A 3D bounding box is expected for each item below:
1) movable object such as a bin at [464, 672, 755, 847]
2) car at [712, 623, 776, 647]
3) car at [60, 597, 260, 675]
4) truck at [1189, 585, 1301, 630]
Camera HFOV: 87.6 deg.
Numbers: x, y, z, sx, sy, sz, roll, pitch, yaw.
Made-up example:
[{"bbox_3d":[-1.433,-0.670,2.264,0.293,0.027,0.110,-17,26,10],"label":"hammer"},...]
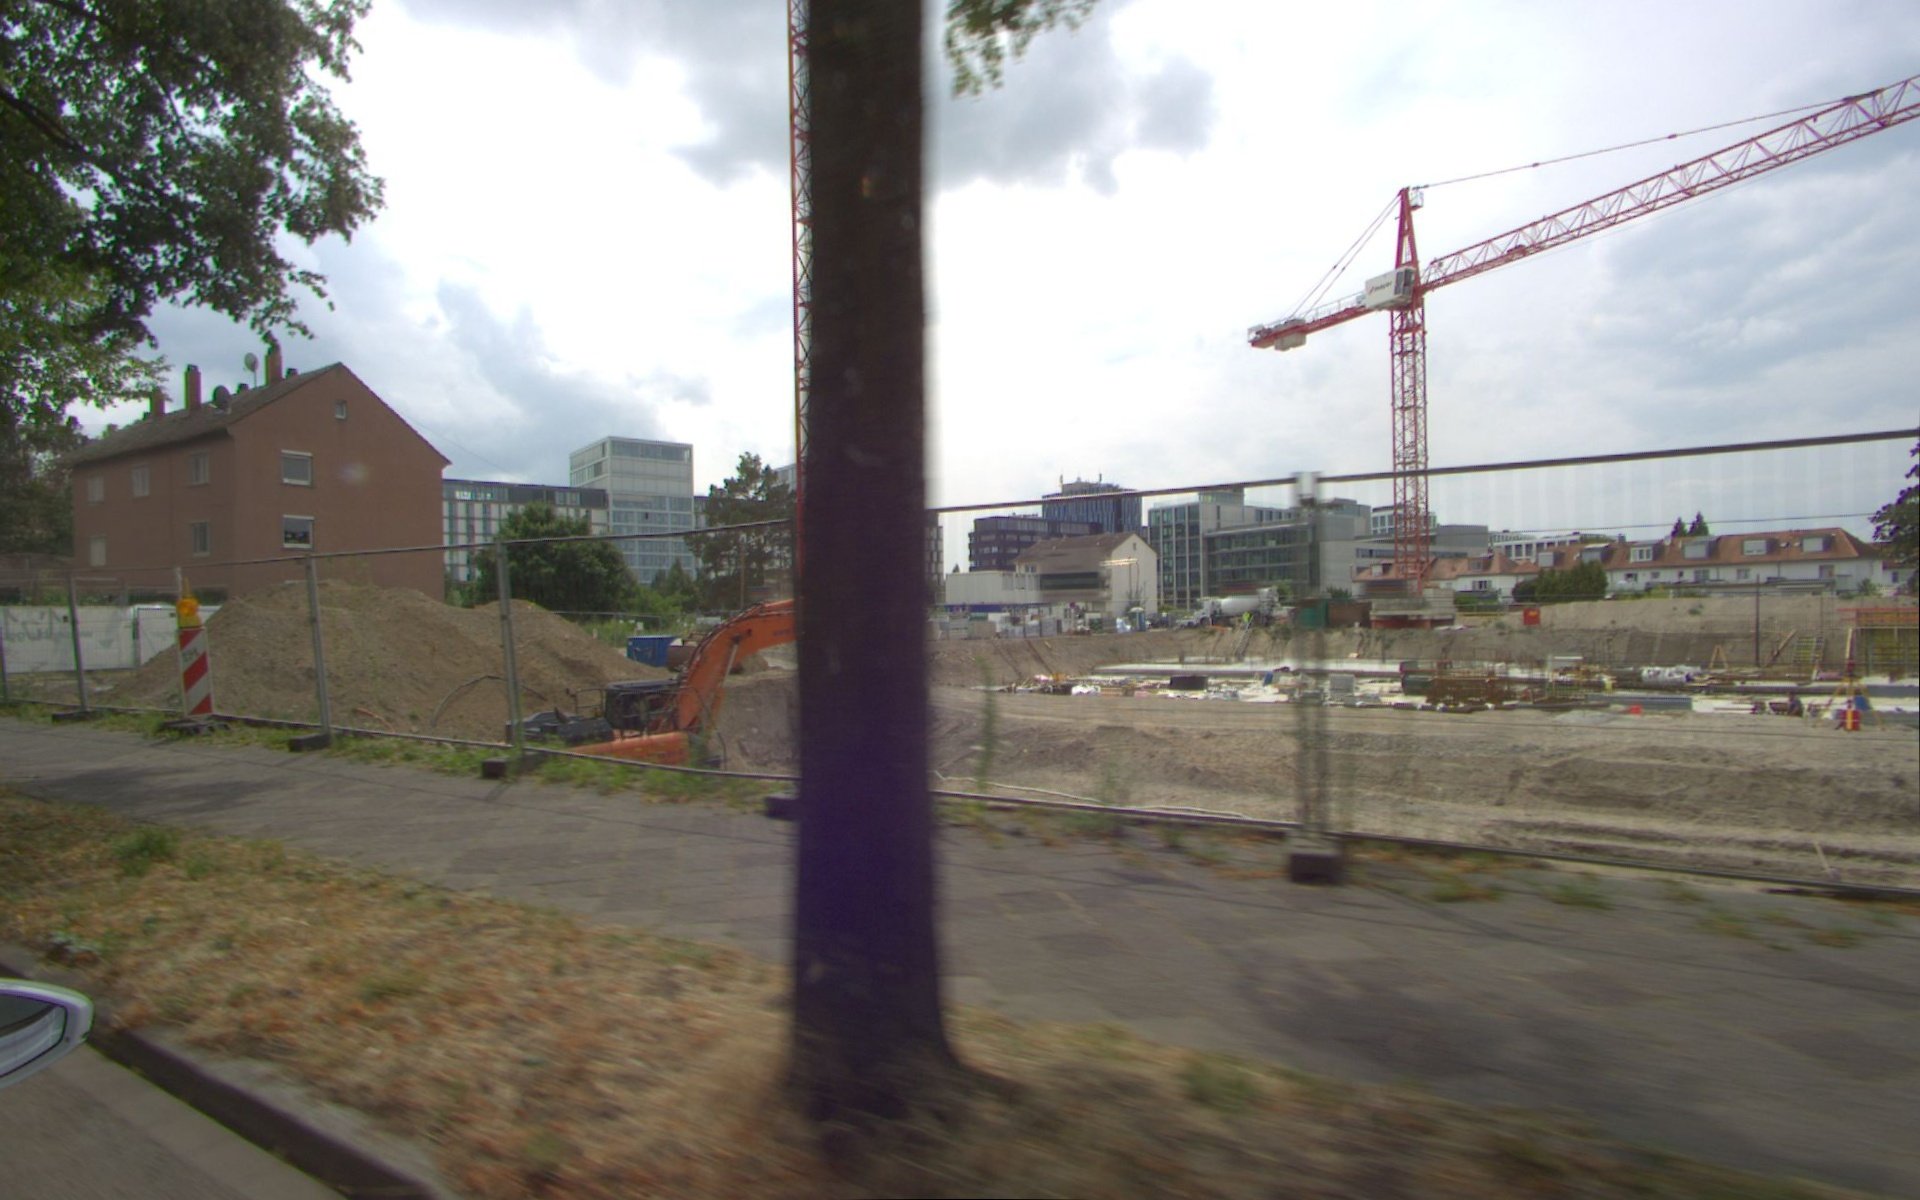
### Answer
[{"bbox_3d":[-7.025,2.989,20.256,4.650,2.624,3.103,-2,1,-44],"label":"movable object such as a bin"},{"bbox_3d":[-14.537,2.350,67.305,4.143,1.435,1.715,1,1,29],"label":"car"},{"bbox_3d":[-29.960,1.251,37.720,2.303,2.667,5.459,1,1,34],"label":"car"},{"bbox_3d":[27.747,0.776,98.077,10.160,4.188,3.320,-1,1,44],"label":"truck"}]
